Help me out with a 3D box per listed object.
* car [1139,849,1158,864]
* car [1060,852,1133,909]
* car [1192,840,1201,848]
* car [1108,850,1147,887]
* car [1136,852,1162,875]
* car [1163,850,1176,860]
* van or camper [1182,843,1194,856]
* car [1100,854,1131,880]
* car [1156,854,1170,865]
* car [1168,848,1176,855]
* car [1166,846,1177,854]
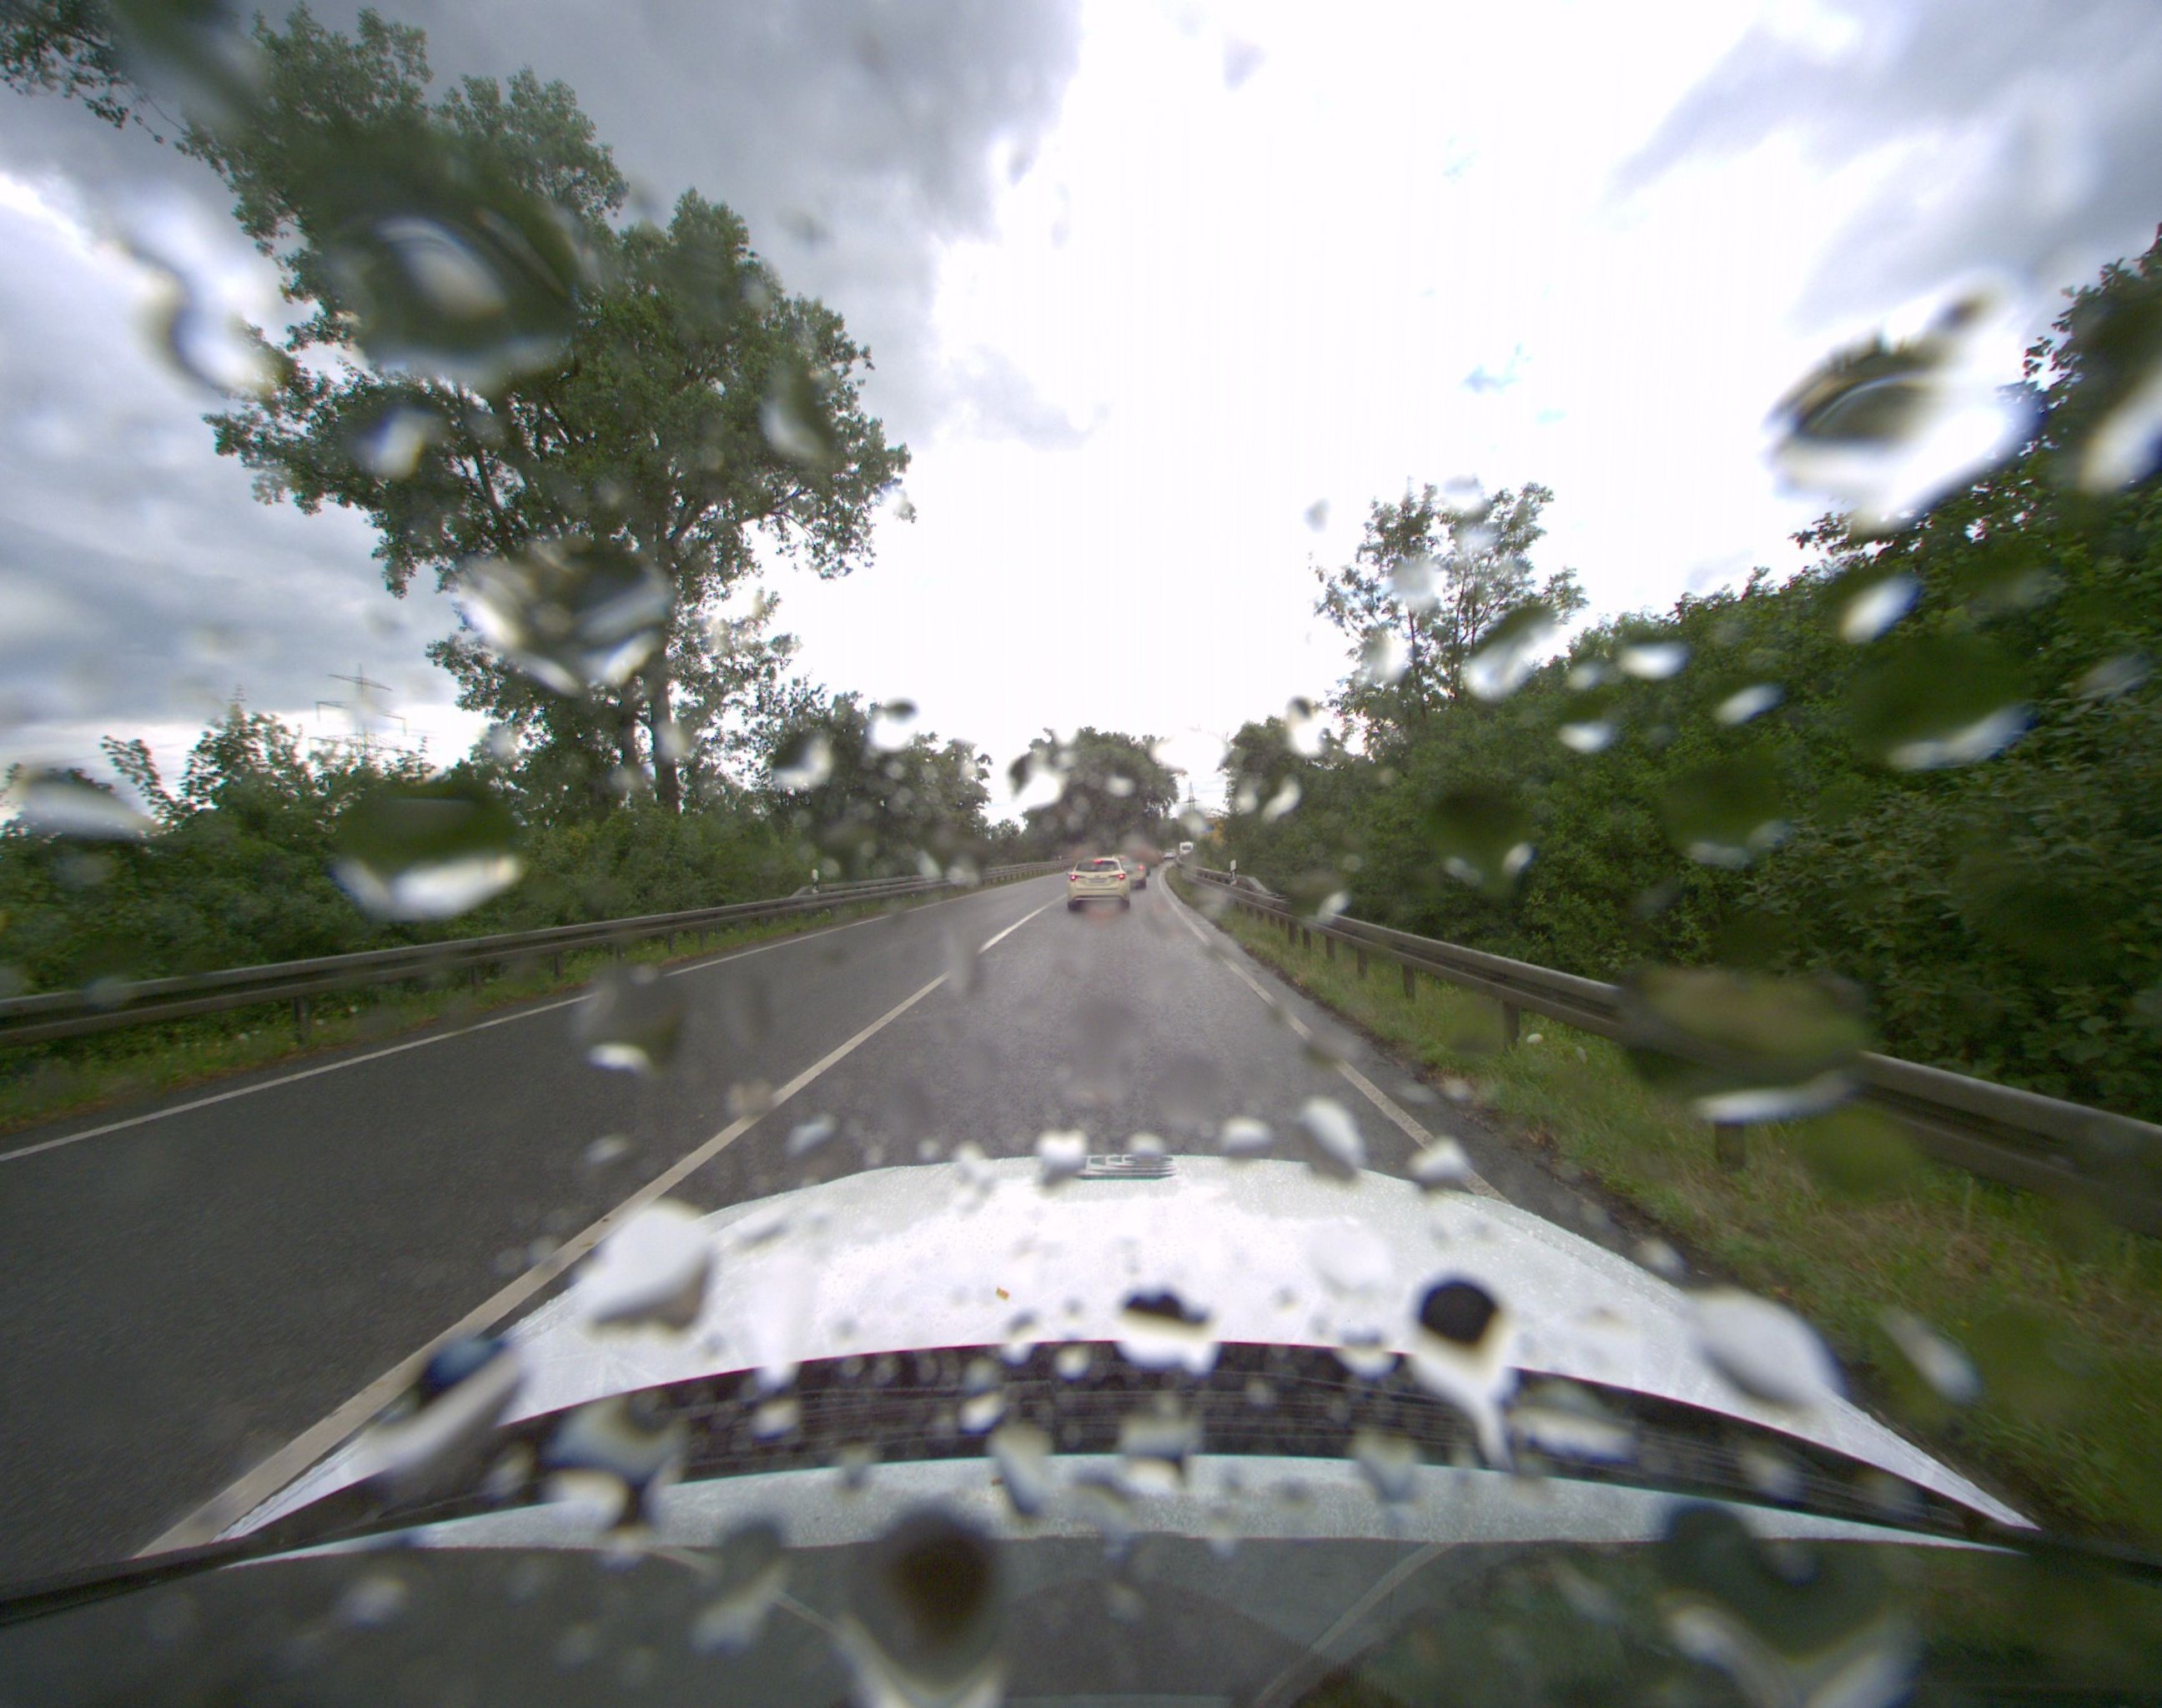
[{"bbox_3d":[6.426,0.248,77.469,1.652,1.409,3.911,-1,-1,6],"label":"car"},{"bbox_3d":[0.546,0.718,24.176,1.897,1.537,4.167,-1,0,4],"label":"car"},{"bbox_3d":[23.251,-2.009,163.809,1.636,1.585,3.695,-1,0,12],"label":"car"},{"bbox_3d":[2.171,0.637,36.927,1.570,1.572,3.687,-1,0,6],"label":"car"},{"bbox_3d":[4.508,0.611,54.271,1.658,1.464,3.480,-1,0,4],"label":"car"},{"bbox_3d":[12.212,0.094,112.476,1.473,1.309,3.486,-1,0,10],"label":"car"},{"bbox_3d":[18.589,-0.801,141.533,1.981,2.254,4.010,-1,0,9],"label":"van or camper"},{"bbox_3d":[1.988,0.713,46.193,1.498,1.437,3.361,-1,0,6],"label":"car"},{"bbox_3d":[9.643,0.648,95.755,1.474,1.309,3.485,-1,0,9],"label":"car"},{"bbox_3d":[18.825,-0.520,168.360,1.415,1.355,3.236,-1,0,11],"label":"car"},{"bbox_3d":[13.841,-0.625,124.735,1.363,1.201,3.327,-1,0,12],"label":"car"}]
